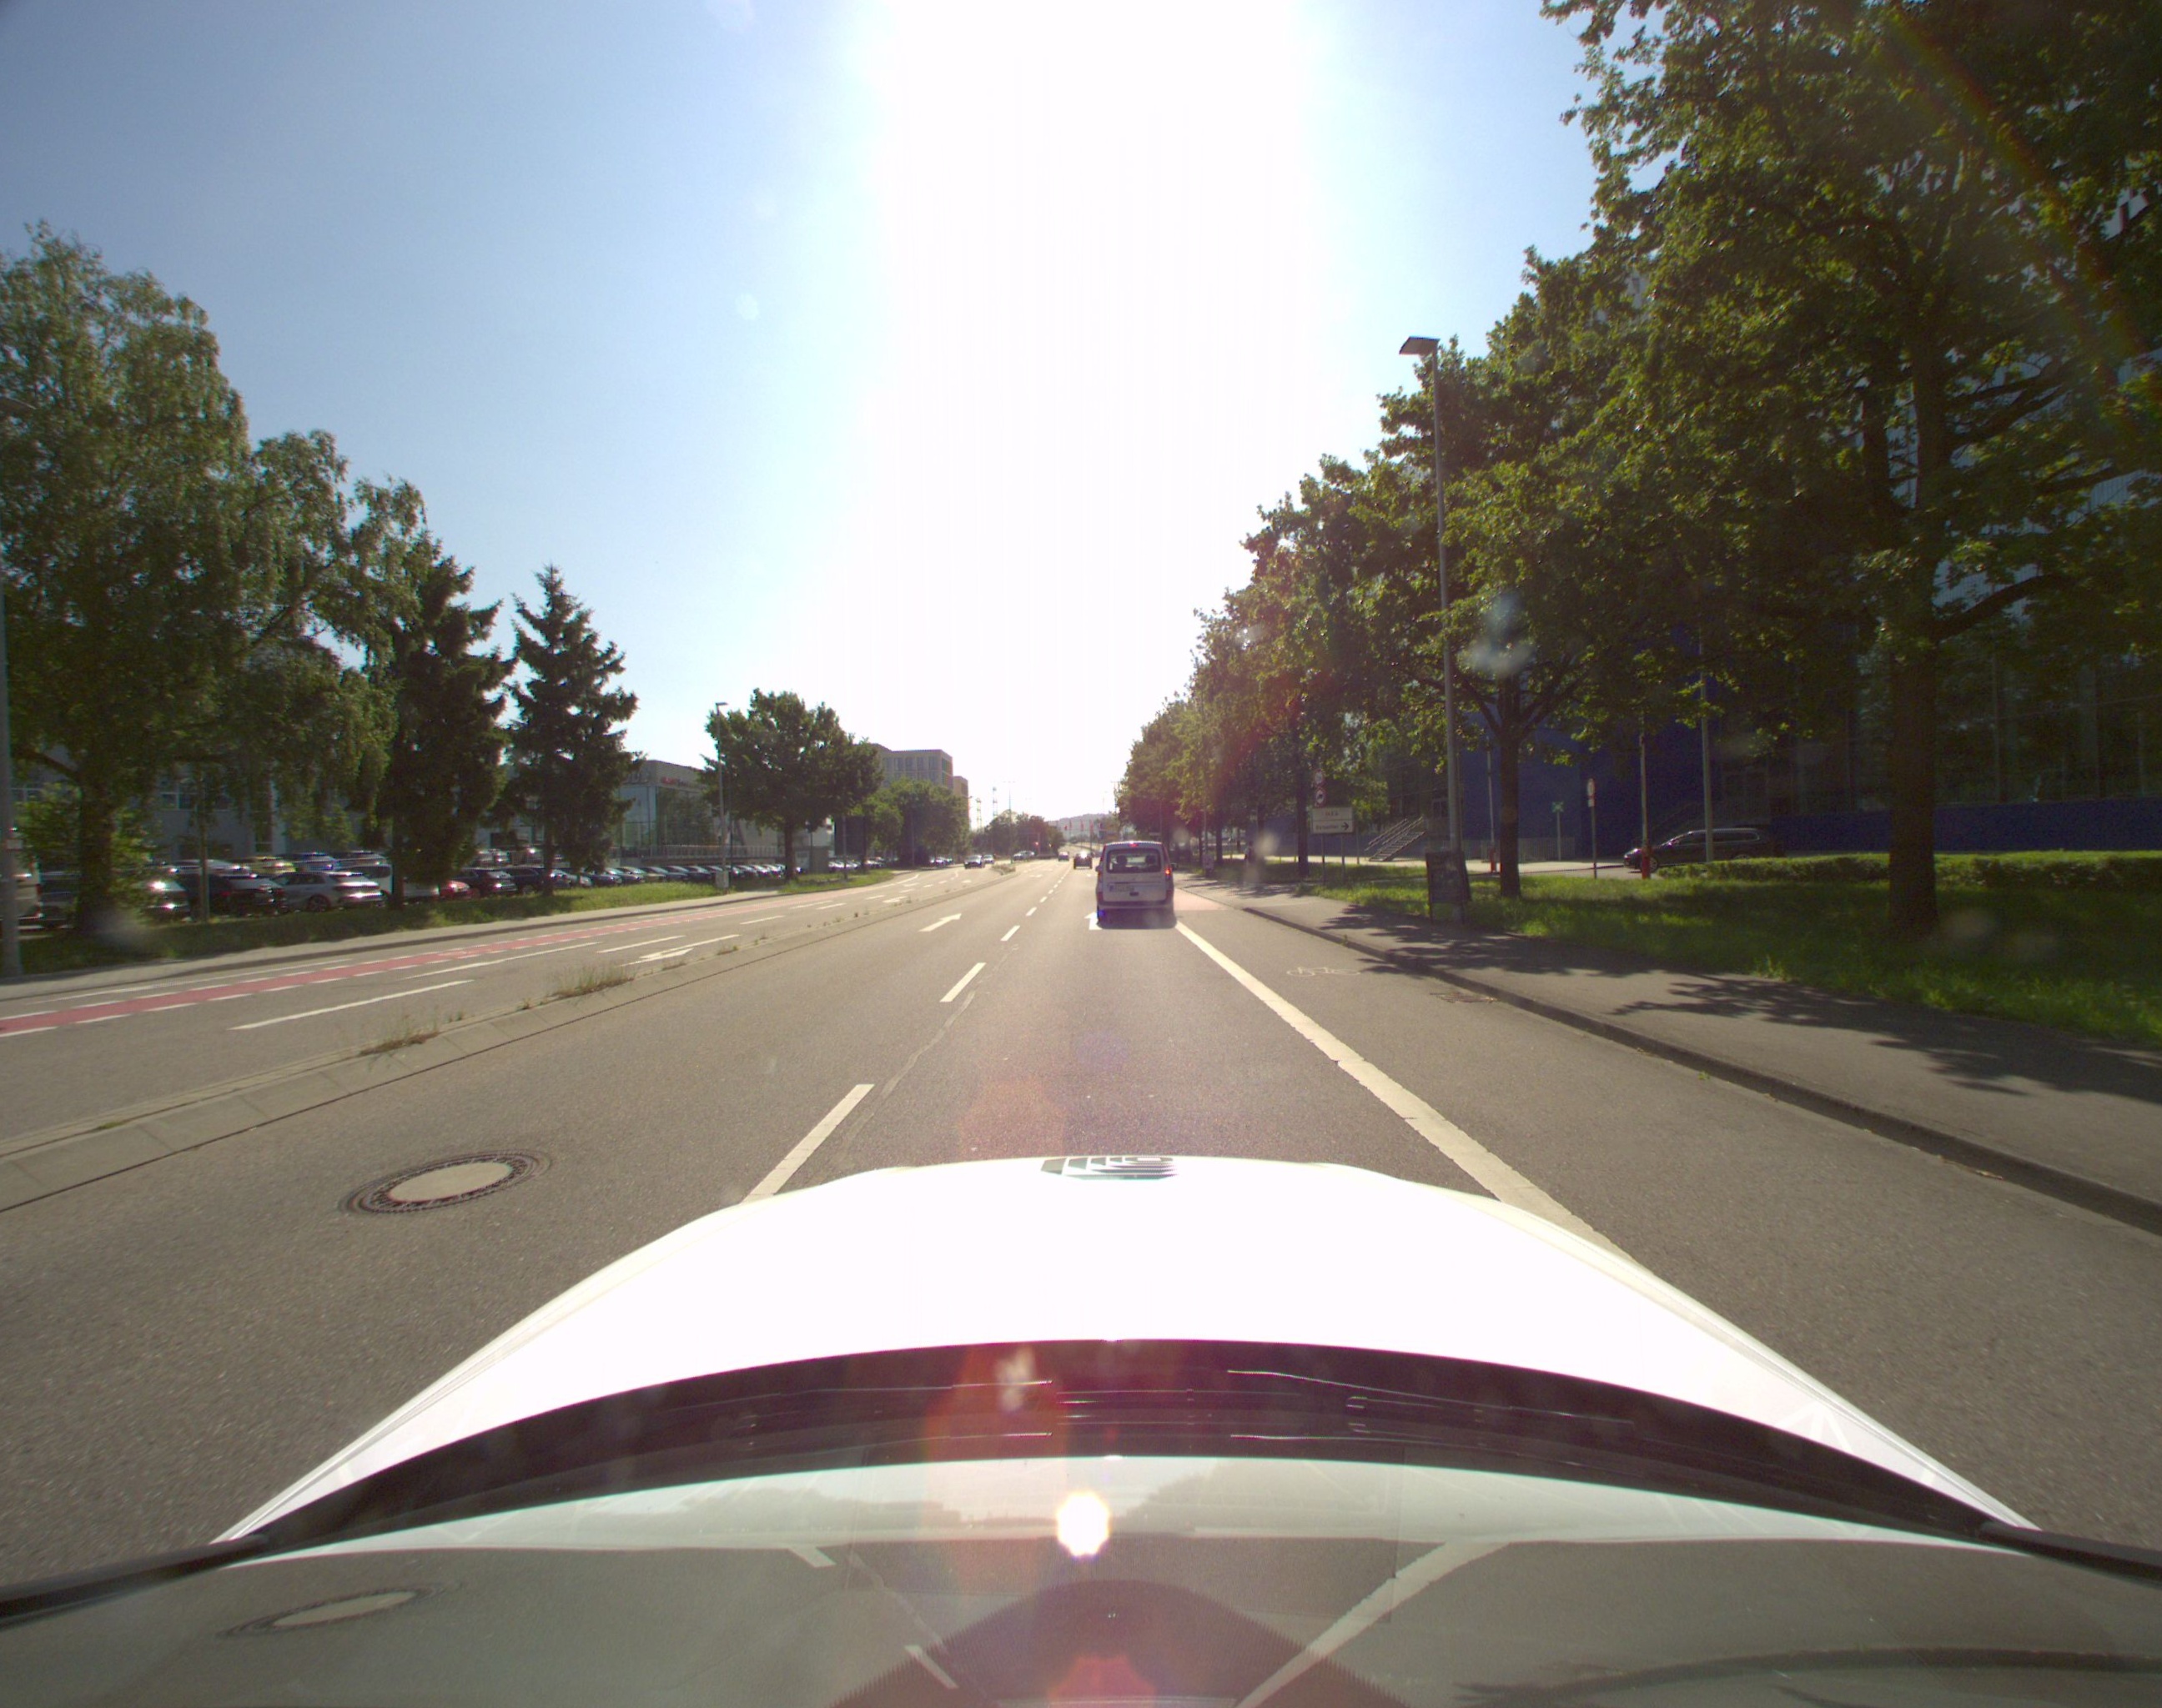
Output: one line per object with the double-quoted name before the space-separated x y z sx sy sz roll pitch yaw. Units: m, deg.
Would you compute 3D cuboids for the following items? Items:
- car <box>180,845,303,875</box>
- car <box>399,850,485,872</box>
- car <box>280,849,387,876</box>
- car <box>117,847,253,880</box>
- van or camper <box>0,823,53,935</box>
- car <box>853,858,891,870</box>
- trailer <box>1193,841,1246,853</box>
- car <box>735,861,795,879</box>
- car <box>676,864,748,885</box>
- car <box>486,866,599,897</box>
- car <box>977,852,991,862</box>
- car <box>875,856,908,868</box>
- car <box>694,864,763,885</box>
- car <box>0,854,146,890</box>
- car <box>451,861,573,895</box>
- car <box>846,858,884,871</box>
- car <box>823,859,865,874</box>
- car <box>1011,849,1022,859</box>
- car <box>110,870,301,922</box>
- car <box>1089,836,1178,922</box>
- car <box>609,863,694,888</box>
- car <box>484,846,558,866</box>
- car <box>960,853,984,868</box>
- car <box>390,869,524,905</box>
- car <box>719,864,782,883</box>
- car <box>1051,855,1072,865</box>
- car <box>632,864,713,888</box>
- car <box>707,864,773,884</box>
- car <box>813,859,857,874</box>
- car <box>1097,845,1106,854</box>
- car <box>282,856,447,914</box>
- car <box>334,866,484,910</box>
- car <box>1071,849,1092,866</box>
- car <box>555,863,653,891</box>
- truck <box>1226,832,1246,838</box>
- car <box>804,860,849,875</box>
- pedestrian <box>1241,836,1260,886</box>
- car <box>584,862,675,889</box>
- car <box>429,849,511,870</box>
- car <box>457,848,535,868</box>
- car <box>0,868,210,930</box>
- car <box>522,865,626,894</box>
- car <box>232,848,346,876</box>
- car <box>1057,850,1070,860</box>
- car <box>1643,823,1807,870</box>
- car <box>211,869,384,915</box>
"car" -42.825 0.312 41.606 4.250 1.350 1.954 -2 0 1
"car" -42.922 0.465 54.771 4.250 1.350 1.954 -2 0 1
"car" -42.567 0.462 46.426 4.250 1.350 1.954 -2 0 1
"car" -42.453 0.433 38.658 4.250 1.350 1.954 -2 0 1
"van or camper" -26.411 0.543 17.694 5.364 2.470 1.999 0 1 -2
"car" -25.522 1.204 99.533 3.973 1.376 1.924 -2 0 0
"trailer" 31.370 -1.593 184.708 11.817 2.469 2.003 0 1 4
"car" -26.541 1.355 68.516 4.249 1.350 1.955 -2 0 2
"car" -26.563 1.448 58.745 4.249 1.350 1.955 -2 0 2
"car" -26.694 1.346 40.454 4.249 1.350 1.955 -2 0 2
"car" -14.878 0.493 125.112 1.649 1.464 3.547 -3 0 -2
"car" -25.407 1.093 109.264 3.973 1.376 1.924 -2 0 0
"car" -26.503 1.526 61.323 4.249 1.350 1.955 -2 0 2
"car" -42.263 0.731 33.951 4.250 1.350 1.954 -2 0 1
"car" -26.374 1.098 37.850 4.249 1.381 1.955 -2 0 2
"car" -25.558 1.282 96.553 3.973 1.376 1.924 -2 0 0
"car" -25.858 1.350 88.829 3.973 1.376 1.924 -2 0 0
"car" -12.577 0.066 159.083 1.988 1.832 4.934 -2 0 -1
"car" -26.013 1.226 24.273 4.066 1.354 1.746 -2 -1 6
"car" 1.375 0.538 19.901 1.896 1.829 4.187 -2 0 6
"car" -26.698 1.334 50.725 4.249 1.350 1.955 -2 0 2
"car" -42.917 0.167 62.457 4.250 1.350 1.954 -2 0 1
"car" -12.137 0.674 90.901 1.835 1.463 5.000 -4 0 1
"car" -26.714 1.413 34.959 4.249 1.328 1.955 -2 0 2
"car" -26.860 1.539 66.256 4.249 1.350 1.955 -2 0 2
"car" -3.954 1.167 164.337 3.992 2.013 1.991 0 1 -14
"car" -26.673 1.437 53.302 4.249 1.350 1.955 -2 0 2
"car" -26.702 1.544 63.861 4.249 1.350 1.955 -2 0 2
"car" -26.014 1.352 86.162 4.028 1.376 2.025 -2 0 0
"car" 4.462 -0.971 175.713 1.753 1.758 3.600 0 1 -2
"car" -25.887 1.100 29.513 4.249 1.884 1.955 -2 0 2
"car" -26.371 1.329 32.056 4.249 1.504 1.955 -2 0 2
"car" 0.100 0.321 80.810 1.800 1.640 4.461 -2 0 2
"car" -26.596 1.284 45.501 4.249 1.350 1.955 -2 0 2
"truck" 46.893 -5.760 246.158 5.886 2.013 2.002 0 1 2
"car" -26.057 1.358 83.479 3.973 1.376 1.866 -2 0 0
"pedestrian" 6.387 0.274 30.681 0.533 1.841 0.728 -2 0 1
"car" -26.686 1.262 48.198 4.249 1.350 1.955 -2 0 2
"car" -43.020 0.389 57.428 4.250 1.350 1.954 -2 0 1
"car" -43.066 0.281 60.007 4.250 1.350 1.954 -2 0 1
"car" -26.303 1.183 21.908 4.066 1.438 1.747 -2 0 6
"car" -26.715 1.344 43.028 4.249 1.350 1.955 -2 0 2
"car" -42.721 0.434 43.993 4.250 1.350 1.954 -2 0 1
"car" -3.028 0.161 140.597 1.986 1.684 4.001 -2 0 1
"car" 22.797 -0.251 28.950 1.922 1.520 4.320 -2 0 -43
"car" -25.840 1.244 26.946 4.070 1.293 1.745 -2 0 2
